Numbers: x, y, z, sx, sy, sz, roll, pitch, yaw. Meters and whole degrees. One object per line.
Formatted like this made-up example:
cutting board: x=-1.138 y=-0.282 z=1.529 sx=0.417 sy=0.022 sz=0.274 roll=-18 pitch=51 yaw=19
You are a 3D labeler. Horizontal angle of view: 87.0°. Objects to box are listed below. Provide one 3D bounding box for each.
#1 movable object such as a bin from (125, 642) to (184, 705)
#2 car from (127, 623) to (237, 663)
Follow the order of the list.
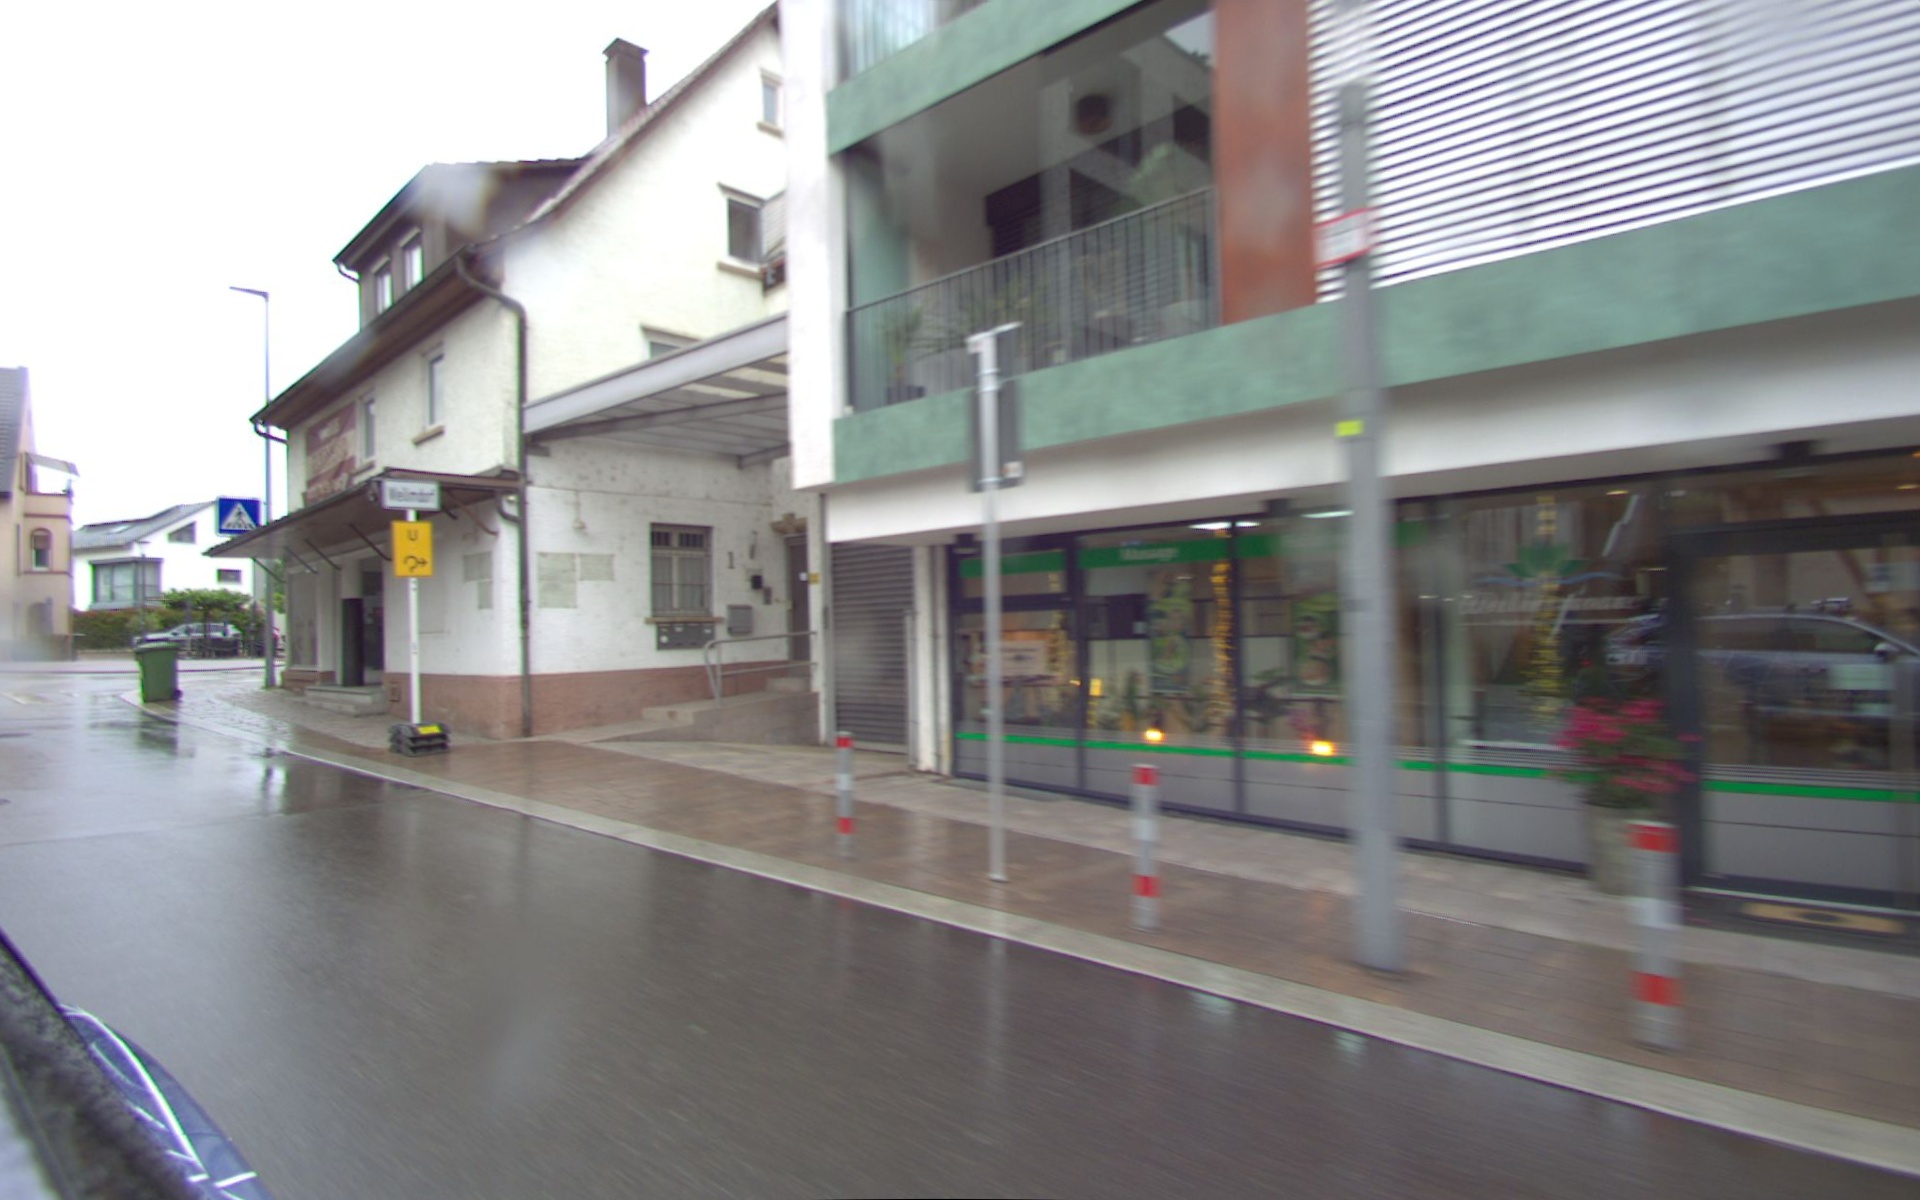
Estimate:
movable object such as a bin: x=-14.976 y=1.349 z=18.822 sx=0.760 sy=1.089 sz=0.680 roll=-1 pitch=1 yaw=39
car: x=-40.994 y=2.304 z=53.480 sx=4.412 sy=2.029 sz=2.005 roll=2 pitch=-4 yaw=-33
